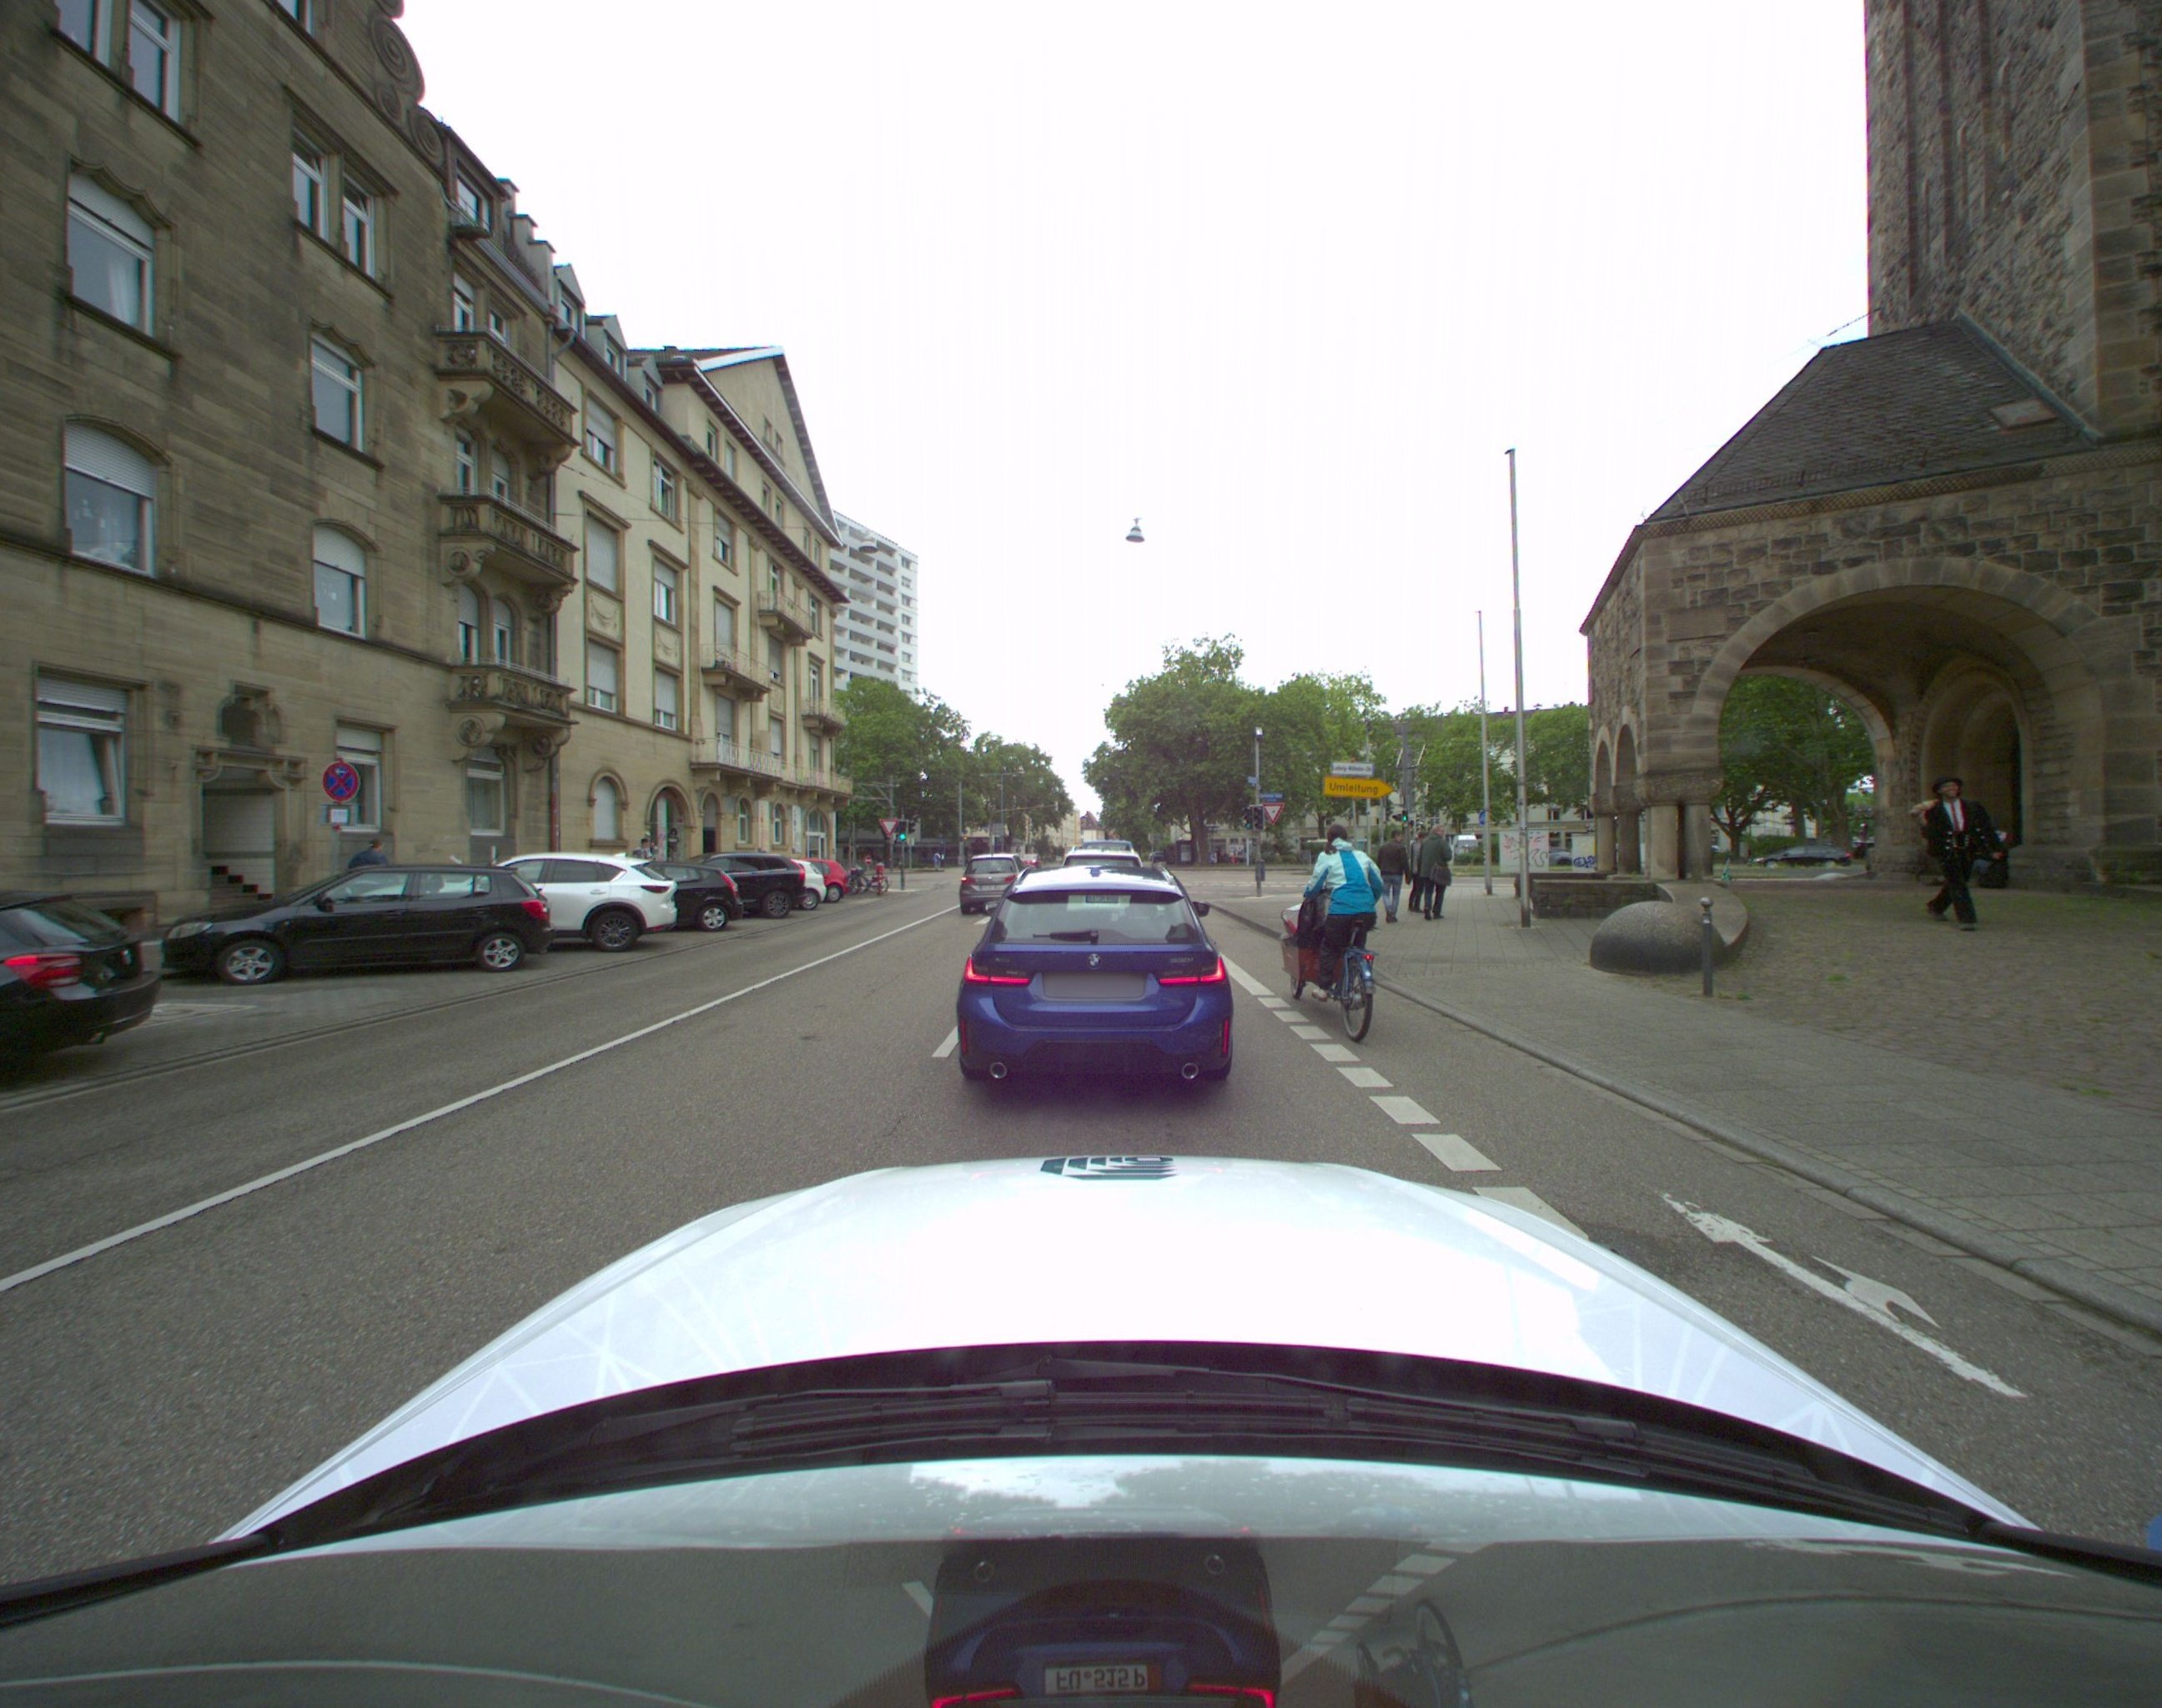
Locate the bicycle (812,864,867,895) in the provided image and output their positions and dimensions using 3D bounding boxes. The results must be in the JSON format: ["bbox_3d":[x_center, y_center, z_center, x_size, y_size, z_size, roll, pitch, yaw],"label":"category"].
[{"bbox_3d":[-9.153,0.966,30.863,1.880,1.035,0.442,5,0,-1],"label":"bicycle"}]

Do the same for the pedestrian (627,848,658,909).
[{"bbox_3d":[-13.055,0.716,24.260,0.564,1.785,0.551,-1,0,3],"label":"pedestrian"}]

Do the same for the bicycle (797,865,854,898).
[{"bbox_3d":[-9.271,0.985,29.513,1.877,1.035,0.443,4,0,4],"label":"bicycle"}]

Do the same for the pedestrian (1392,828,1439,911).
[{"bbox_3d":[7.023,0.311,17.145,0.629,1.673,0.971,-3,0,8],"label":"pedestrian"}]

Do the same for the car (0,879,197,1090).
[{"bbox_3d":[-9.119,0.902,5.457,4.016,1.417,1.644,1,-1,-34],"label":"car"}]

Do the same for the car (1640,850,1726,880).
[{"bbox_3d":[36.624,0.667,49.673,3.901,1.711,1.697,-1,-1,24],"label":"car"}]

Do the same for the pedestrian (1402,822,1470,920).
[{"bbox_3d":[6.760,0.314,15.560,0.801,1.758,0.969,-3,0,1],"label":"pedestrian"}]

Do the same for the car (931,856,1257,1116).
[{"bbox_3d":[0.140,0.754,6.740,1.808,1.405,4.322,-1,0,2],"label":"car"}]

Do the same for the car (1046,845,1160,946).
[{"bbox_3d":[0.420,0.665,15.098,1.808,1.592,4.002,-1,0,2],"label":"car"}]

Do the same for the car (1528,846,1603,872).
[{"bbox_3d":[30.955,0.345,52.162,3.940,1.561,1.697,-1,0,24],"label":"car"}]

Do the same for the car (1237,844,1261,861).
[{"bbox_3d":[22.139,-0.193,107.104,2.154,2.200,4.024,-1,0,26],"label":"car"}]

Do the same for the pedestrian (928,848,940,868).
[{"bbox_3d":[-13.197,0.365,73.207,0.668,1.771,0.730,-1,0,43],"label":"pedestrian"}]

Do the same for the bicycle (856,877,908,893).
[{"bbox_3d":[-8.224,1.281,33.727,1.880,0.445,1.029,5,2,-1],"label":"bicycle"}]

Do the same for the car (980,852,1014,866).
[{"bbox_3d":[-10.883,0.623,105.679,4.014,1.706,1.980,0,-1,-32],"label":"car"}]

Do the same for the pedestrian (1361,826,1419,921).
[{"bbox_3d":[5.778,0.353,15.281,0.672,1.686,0.969,-3,0,2],"label":"pedestrian"}]

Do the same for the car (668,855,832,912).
[{"bbox_3d":[-9.370,0.817,23.213,4.021,1.472,1.546,2,0,-41],"label":"car"}]

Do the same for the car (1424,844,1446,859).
[{"bbox_3d":[34.920,-0.259,80.361,1.649,1.515,3.962,-1,0,28],"label":"car"}]

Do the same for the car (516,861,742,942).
[{"bbox_3d":[-9.489,0.906,17.219,4.017,1.494,1.713,0,0,-36],"label":"car"}]

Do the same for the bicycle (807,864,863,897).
[{"bbox_3d":[-9.156,0.984,30.327,1.880,1.035,0.442,5,0,-1],"label":"bicycle"}]

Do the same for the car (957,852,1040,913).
[{"bbox_3d":[-2.196,0.724,22.644,1.726,1.525,4.002,-1,0,2],"label":"car"}]

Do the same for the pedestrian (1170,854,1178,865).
[{"bbox_3d":[11.776,0.666,103.016,0.850,1.314,0.763,-1,0,1],"label":"pedestrian"}]

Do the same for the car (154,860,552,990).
[{"bbox_3d":[-9.631,0.862,11.199,3.830,1.497,1.552,1,-1,-37],"label":"car"}]

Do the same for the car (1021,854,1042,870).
[{"bbox_3d":[-4.561,0.725,75.284,1.643,1.447,3.512,-1,0,2],"label":"car"}]

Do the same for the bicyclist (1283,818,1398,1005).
[{"bbox_3d":[2.251,0.471,7.189,0.683,1.517,1.059,-1,0,2],"label":"bicyclist"}]

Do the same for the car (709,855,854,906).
[{"bbox_3d":[-9.499,0.804,26.040,1.663,1.472,4.024,1,0,43],"label":"car"}]

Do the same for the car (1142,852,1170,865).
[{"bbox_3d":[10.693,0.589,115.867,3.865,1.741,1.763,-1,0,4],"label":"car"}]

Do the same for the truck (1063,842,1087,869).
[{"bbox_3d":[-0.547,0.113,77.893,2.068,2.408,5.461,-2,0,0],"label":"truck"}]

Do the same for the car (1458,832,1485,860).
[{"bbox_3d":[39.209,-0.797,81.739,2.214,2.639,5.480,-1,0,28],"label":"car"}]

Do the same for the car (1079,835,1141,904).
[{"bbox_3d":[0.914,0.449,26.202,1.808,2.005,4.002,-1,0,2],"label":"car"}]

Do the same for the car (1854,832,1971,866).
[{"bbox_3d":[55.282,-0.323,54.271,5.025,2.096,2.004,-1,-1,24],"label":"car"}]

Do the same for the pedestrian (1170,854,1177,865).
[{"bbox_3d":[11.811,0.644,103.897,0.814,1.372,0.763,-1,0,1],"label":"pedestrian"}]

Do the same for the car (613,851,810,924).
[{"bbox_3d":[-9.235,0.765,20.551,4.248,1.652,1.711,0,0,-41],"label":"car"}]

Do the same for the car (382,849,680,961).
[{"bbox_3d":[-9.281,0.791,14.198,4.004,1.723,1.827,0,0,-23],"label":"car"}]

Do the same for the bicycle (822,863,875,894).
[{"bbox_3d":[-9.167,0.962,32.161,1.880,1.035,0.442,5,0,-1],"label":"bicycle"}]

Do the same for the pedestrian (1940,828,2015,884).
[{"bbox_3d":[15.514,0.039,14.109,0.665,0.951,0.618,-1,0,24],"label":"pedestrian"}]

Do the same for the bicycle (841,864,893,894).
[{"bbox_3d":[-8.588,0.990,32.696,1.880,1.035,0.442,5,0,-1],"label":"bicycle"}]

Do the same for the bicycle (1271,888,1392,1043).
[{"bbox_3d":[2.194,0.912,7.397,0.492,1.098,2.139,-1,0,2],"label":"bicycle"}]

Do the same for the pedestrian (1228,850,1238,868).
[{"bbox_3d":[14.985,0.462,80.397,0.781,1.743,0.925,-1,0,0],"label":"pedestrian"}]

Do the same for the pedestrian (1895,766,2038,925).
[{"bbox_3d":[10.710,-0.120,9.907,0.806,1.808,1.026,-1,3,22],"label":"pedestrian"}]

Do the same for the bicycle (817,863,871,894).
[{"bbox_3d":[-9.151,0.945,31.525,1.880,1.035,0.442,5,0,-1],"label":"bicycle"}]

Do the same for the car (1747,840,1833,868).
[{"bbox_3d":[41.152,0.018,47.379,3.425,1.561,1.697,-1,0,24],"label":"car"}]

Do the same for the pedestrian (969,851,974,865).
[{"bbox_3d":[-13.660,0.530,101.252,0.571,1.771,0.513,-1,0,-11],"label":"pedestrian"}]

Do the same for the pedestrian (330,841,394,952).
[{"bbox_3d":[-12.950,0.750,14.677,0.616,1.958,0.551,-1,0,2],"label":"pedestrian"}]
